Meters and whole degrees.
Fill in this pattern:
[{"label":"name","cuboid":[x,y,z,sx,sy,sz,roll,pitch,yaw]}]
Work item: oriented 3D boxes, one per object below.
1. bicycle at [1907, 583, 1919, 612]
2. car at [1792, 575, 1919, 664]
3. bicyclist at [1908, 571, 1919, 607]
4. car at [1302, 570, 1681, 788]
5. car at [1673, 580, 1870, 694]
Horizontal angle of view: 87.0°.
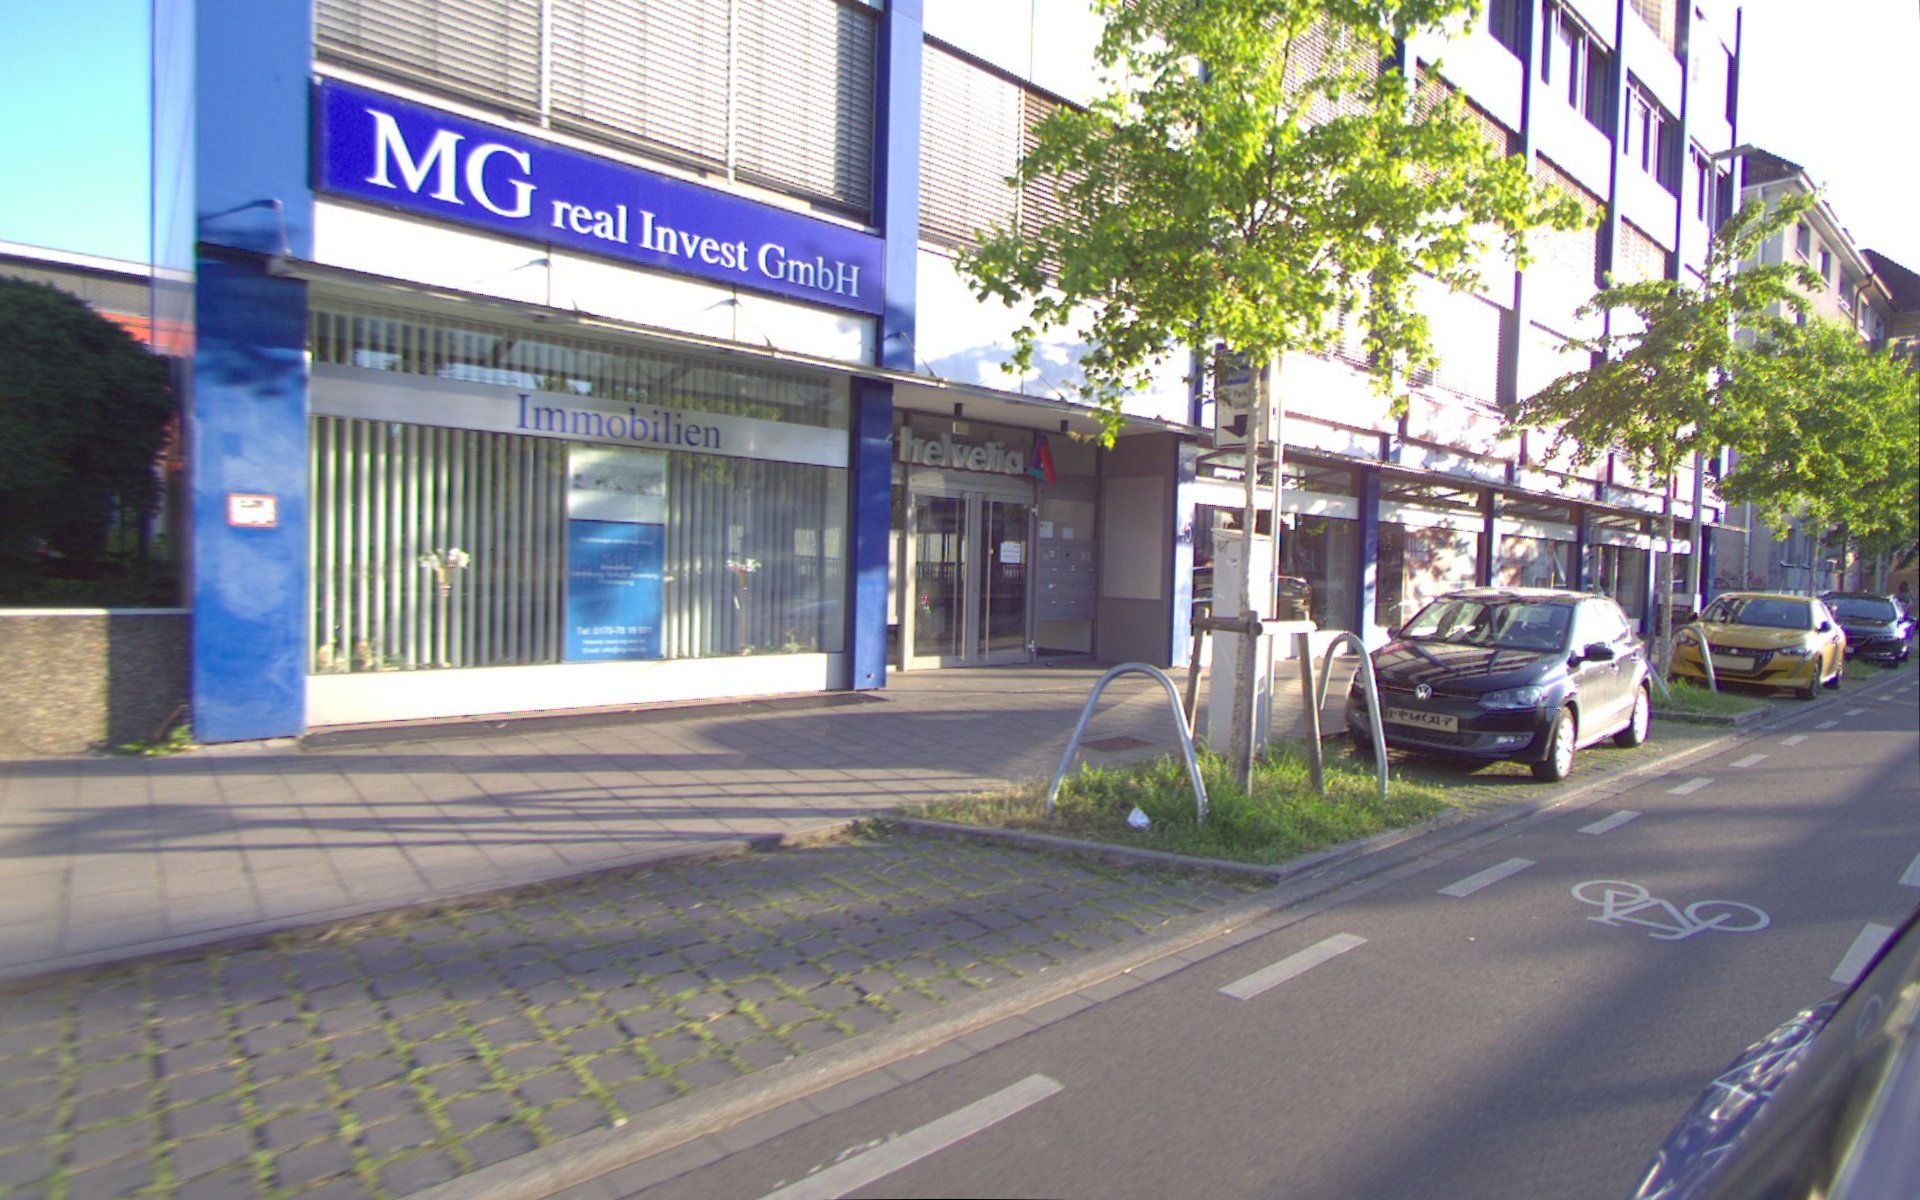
[{"label":"bicycle","cuboid":[40.505,-0.108,42.742,1.941,1.143,0.555,-1,5,-43]},{"label":"car","cuboid":[19.695,0.342,21.952,4.729,1.585,1.823,0,6,-43]},{"label":"bicyclist","cuboid":[40.486,-0.446,42.699,0.612,1.493,0.559,0,5,-42]},{"label":"car","cuboid":[4.963,0.518,9.189,4.060,1.472,1.821,-1,4,-44]},{"label":"car","cuboid":[12.578,0.469,15.602,4.059,1.472,1.686,-1,3,-42]}]
